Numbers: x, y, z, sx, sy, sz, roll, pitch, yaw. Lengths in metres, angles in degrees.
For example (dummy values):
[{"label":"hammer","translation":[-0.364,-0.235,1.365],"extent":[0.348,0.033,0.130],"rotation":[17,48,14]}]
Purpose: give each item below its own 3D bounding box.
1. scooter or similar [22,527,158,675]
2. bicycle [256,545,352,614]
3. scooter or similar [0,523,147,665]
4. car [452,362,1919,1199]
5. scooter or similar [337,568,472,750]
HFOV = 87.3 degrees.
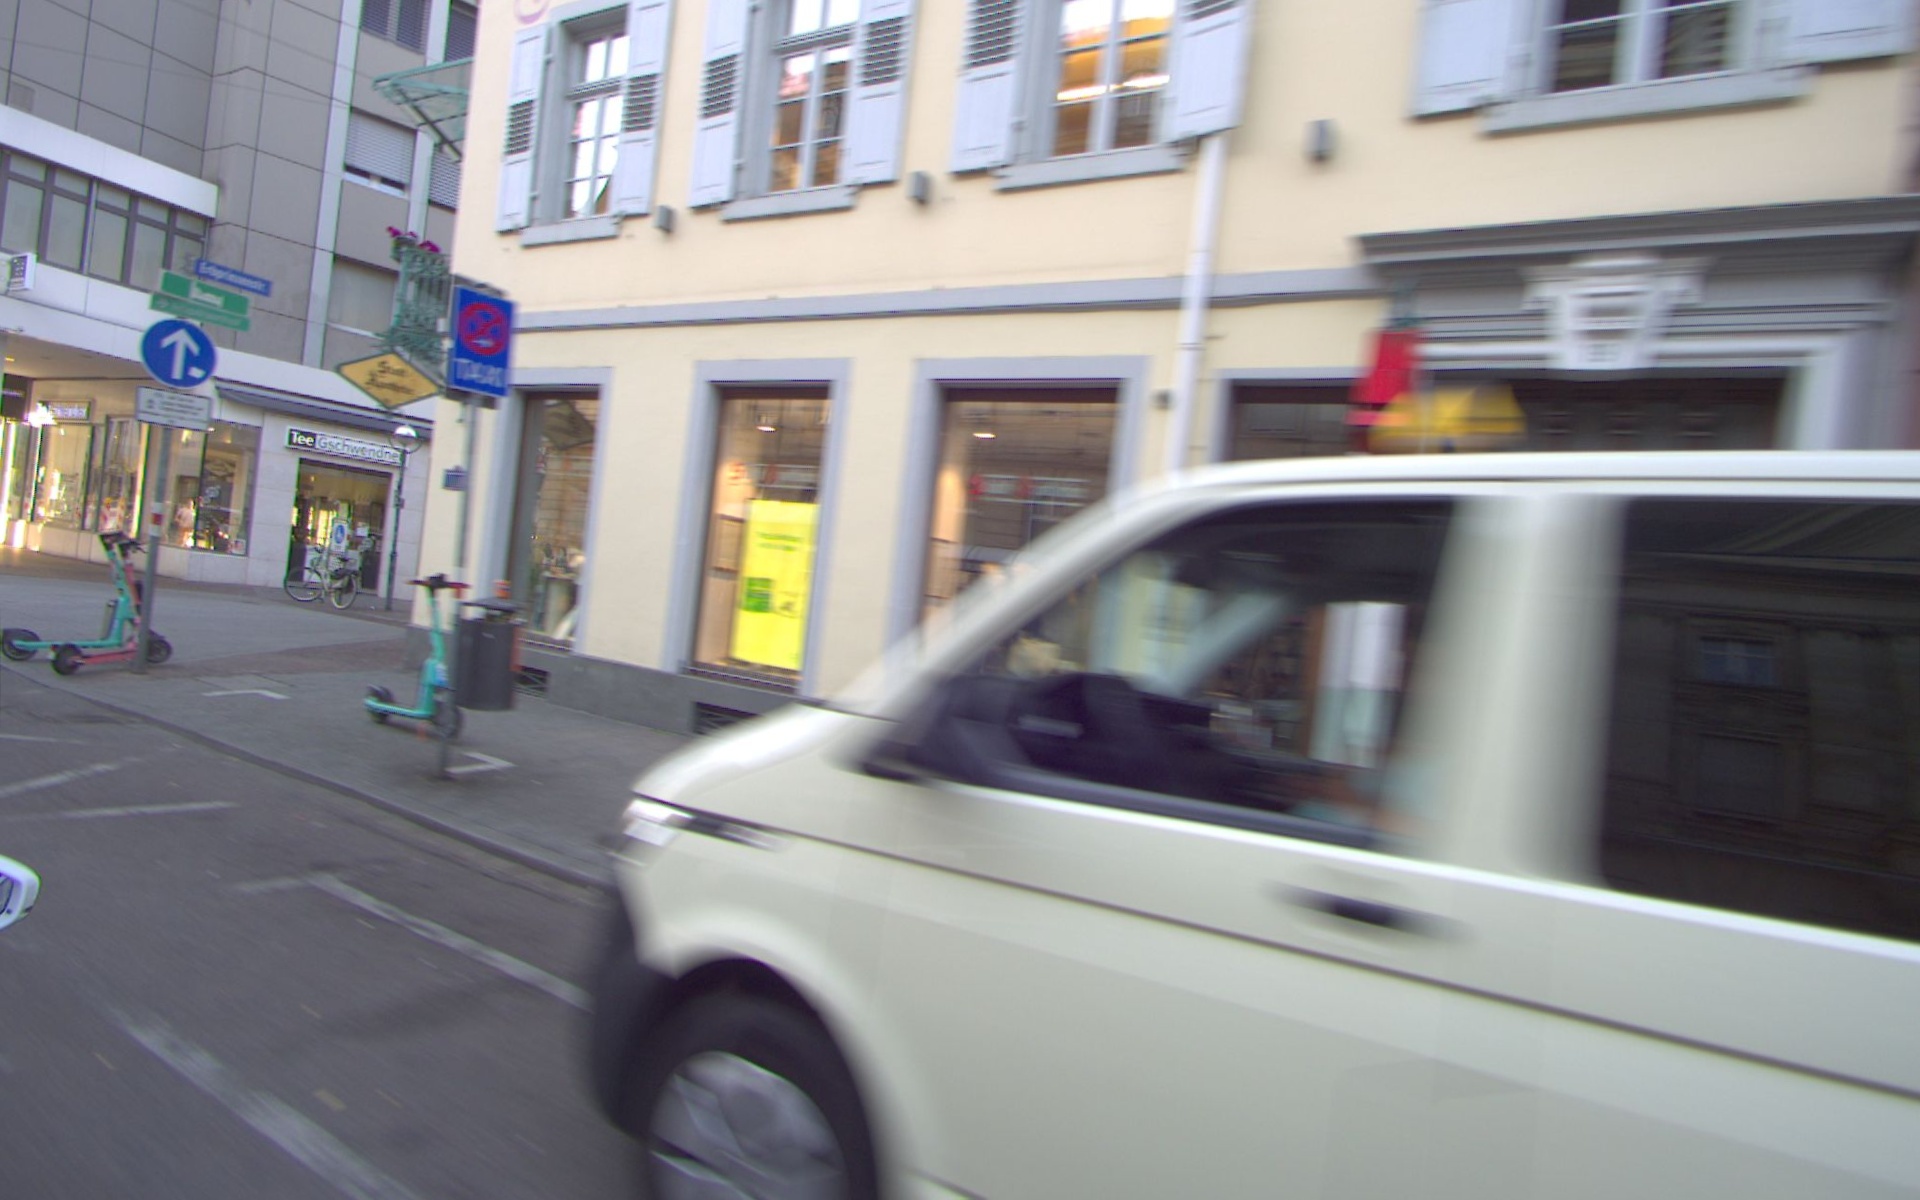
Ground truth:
[{"label":"scooter or similar","translation":[-7.915,0.010,9.192],"extent":[0.267,1.250,1.047],"rotation":[6,1,-2]},{"label":"bicycle","translation":[-12.570,-0.399,19.276],"extent":[1.816,1.041,0.770],"rotation":[9,0,33]},{"label":"scooter or similar","translation":[-8.513,-0.042,9.526],"extent":[1.172,1.250,0.312],"rotation":[5,1,-45]},{"label":"car","translation":[1.350,0.763,2.120],"extent":[4.620,1.945,1.882],"rotation":[6,-3,29]},{"label":"scooter or similar","translation":[-4.347,0.431,7.847],"extent":[1.286,1.250,0.271],"rotation":[6,1,34]}]
